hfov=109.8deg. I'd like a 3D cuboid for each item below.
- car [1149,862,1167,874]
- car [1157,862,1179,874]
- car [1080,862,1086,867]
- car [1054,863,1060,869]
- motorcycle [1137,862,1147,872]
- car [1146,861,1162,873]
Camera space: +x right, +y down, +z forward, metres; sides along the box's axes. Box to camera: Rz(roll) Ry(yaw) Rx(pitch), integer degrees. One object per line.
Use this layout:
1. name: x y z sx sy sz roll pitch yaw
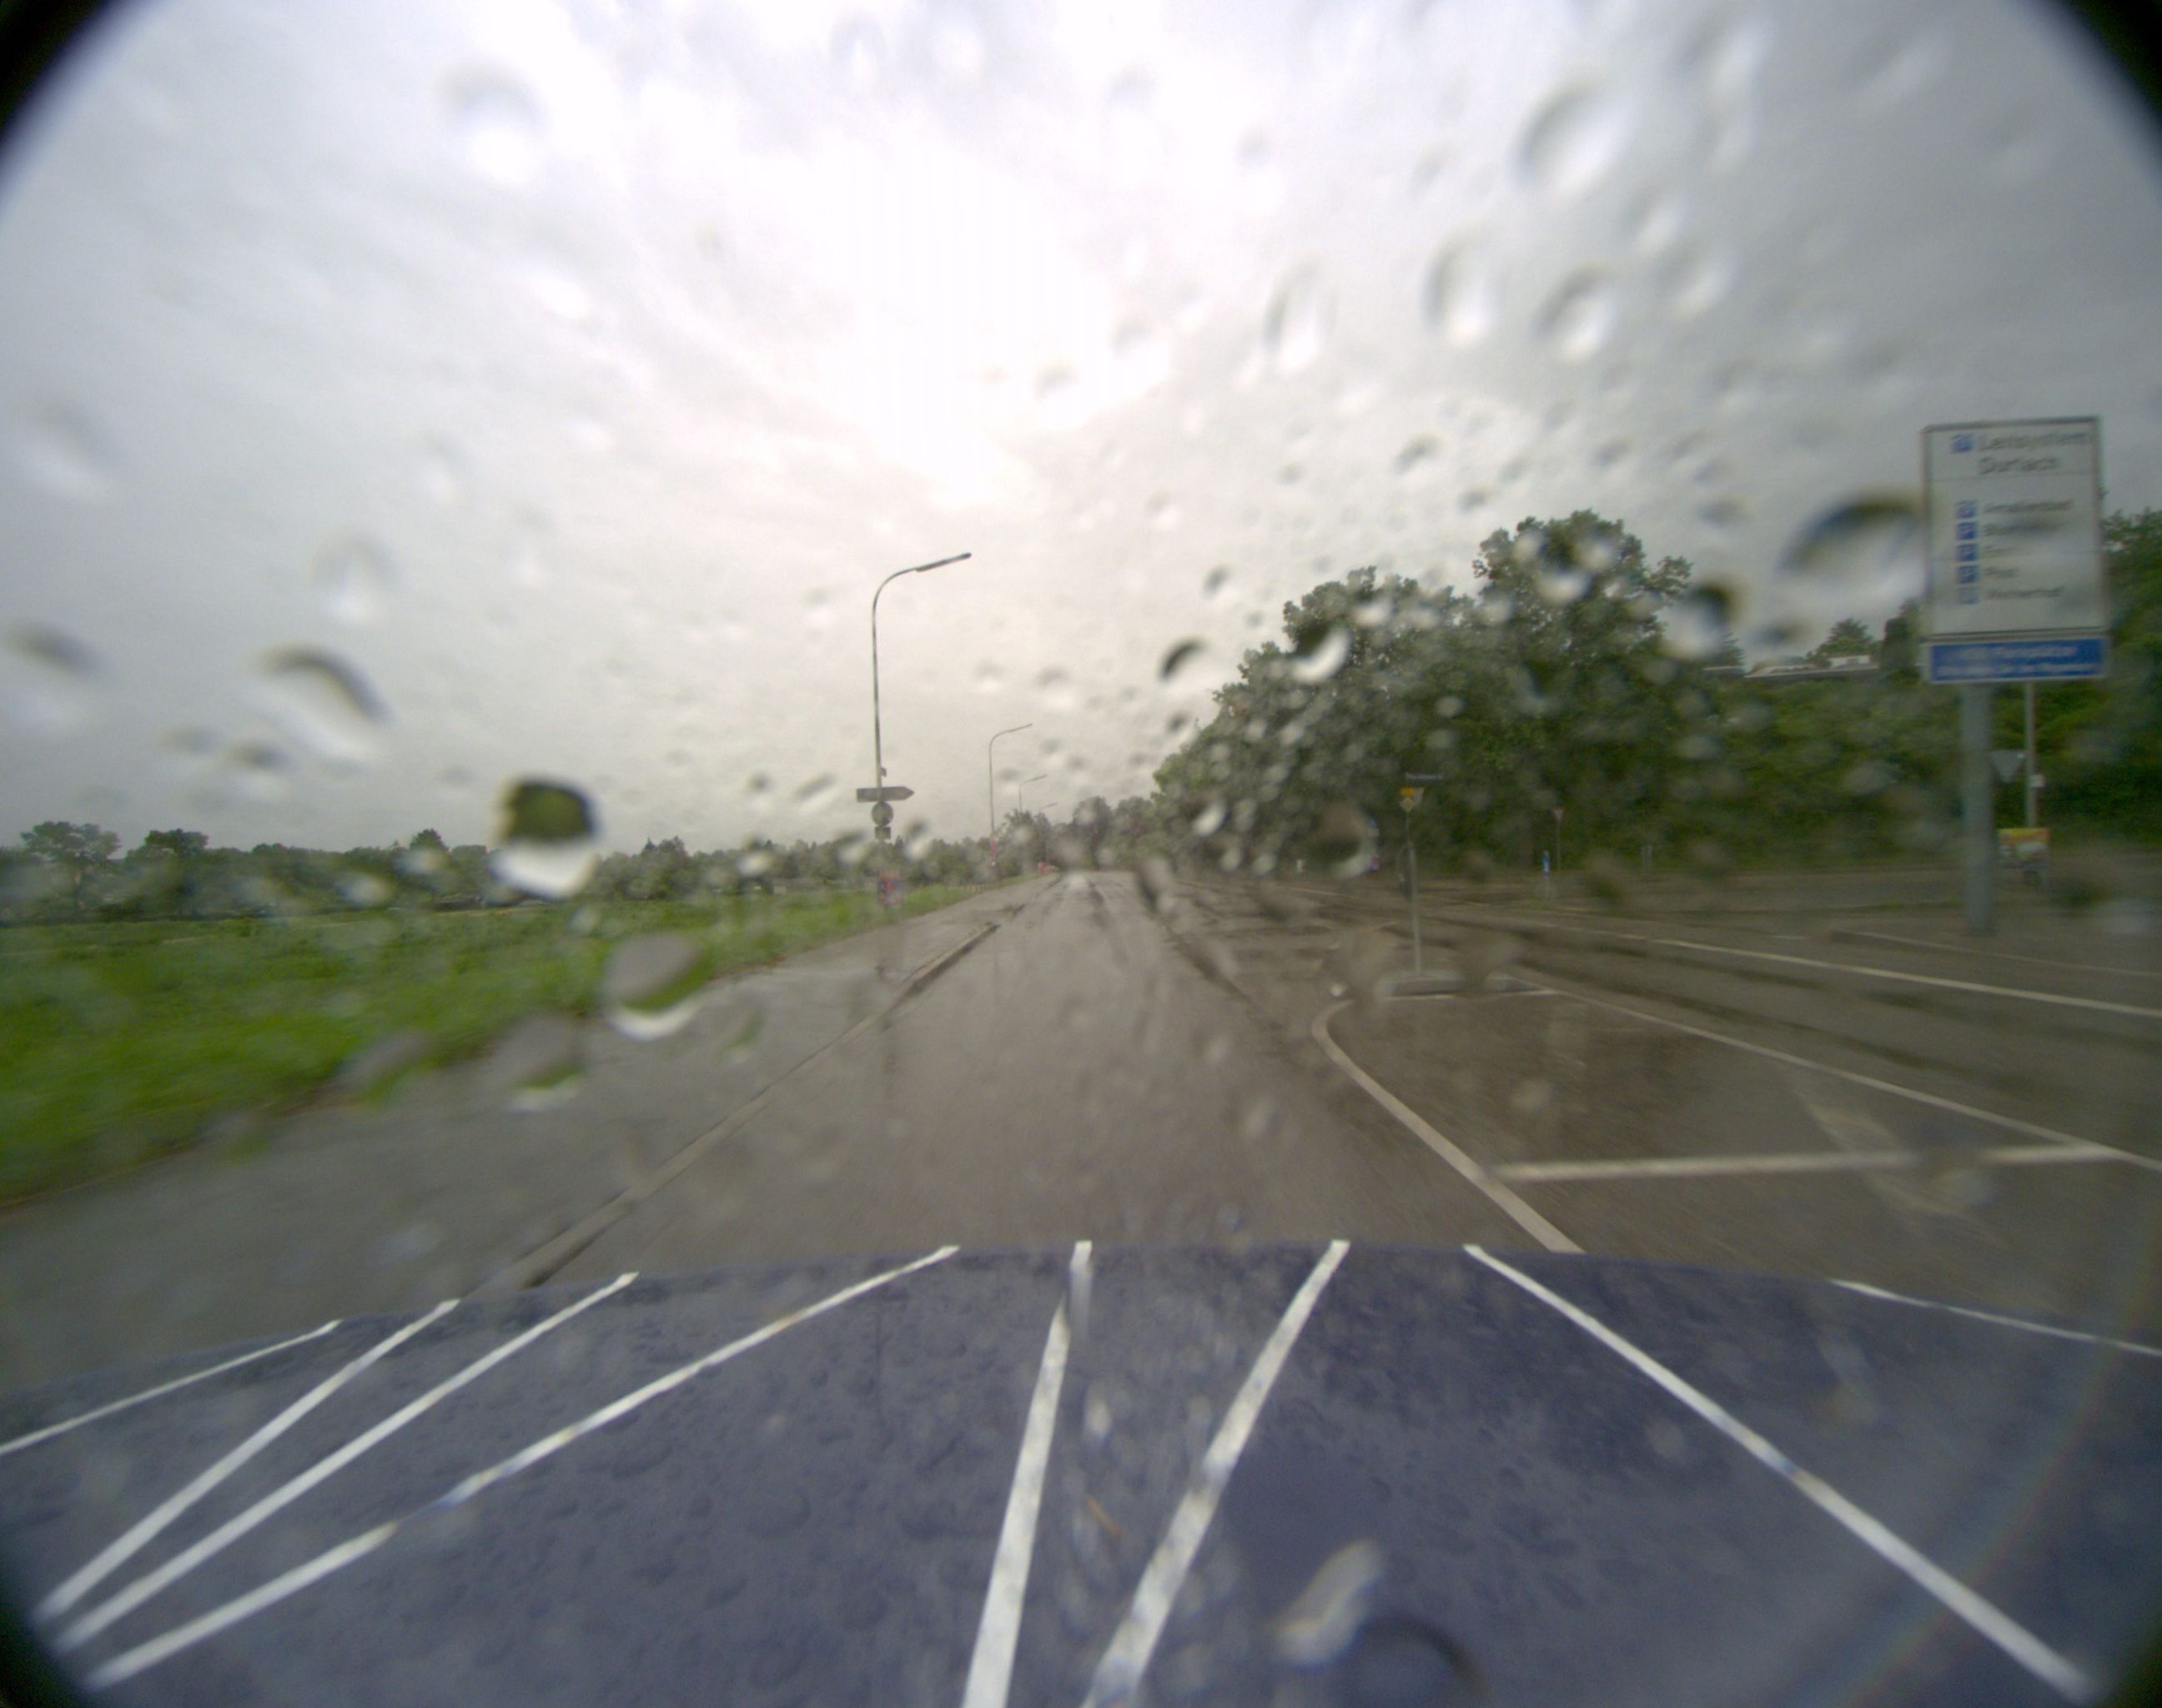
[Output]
1. car: 9.488 1.664 93.647 1.437 1.411 4.102 -1 0 -6
2. car: 10.096 1.617 88.355 1.691 1.411 4.740 -1 0 -3
3. car: 0.588 3.363 252.293 1.854 1.583 3.704 -2 -1 -3
4. car: -7.760 3.818 243.612 1.999 2.001 4.000 -2 -1 -2
5. motorcycle: 8.396 1.822 104.536 0.840 1.333 2.498 -1 0 -7
6. car: 9.362 1.688 97.536 1.438 1.528 2.817 -1 0 -10
